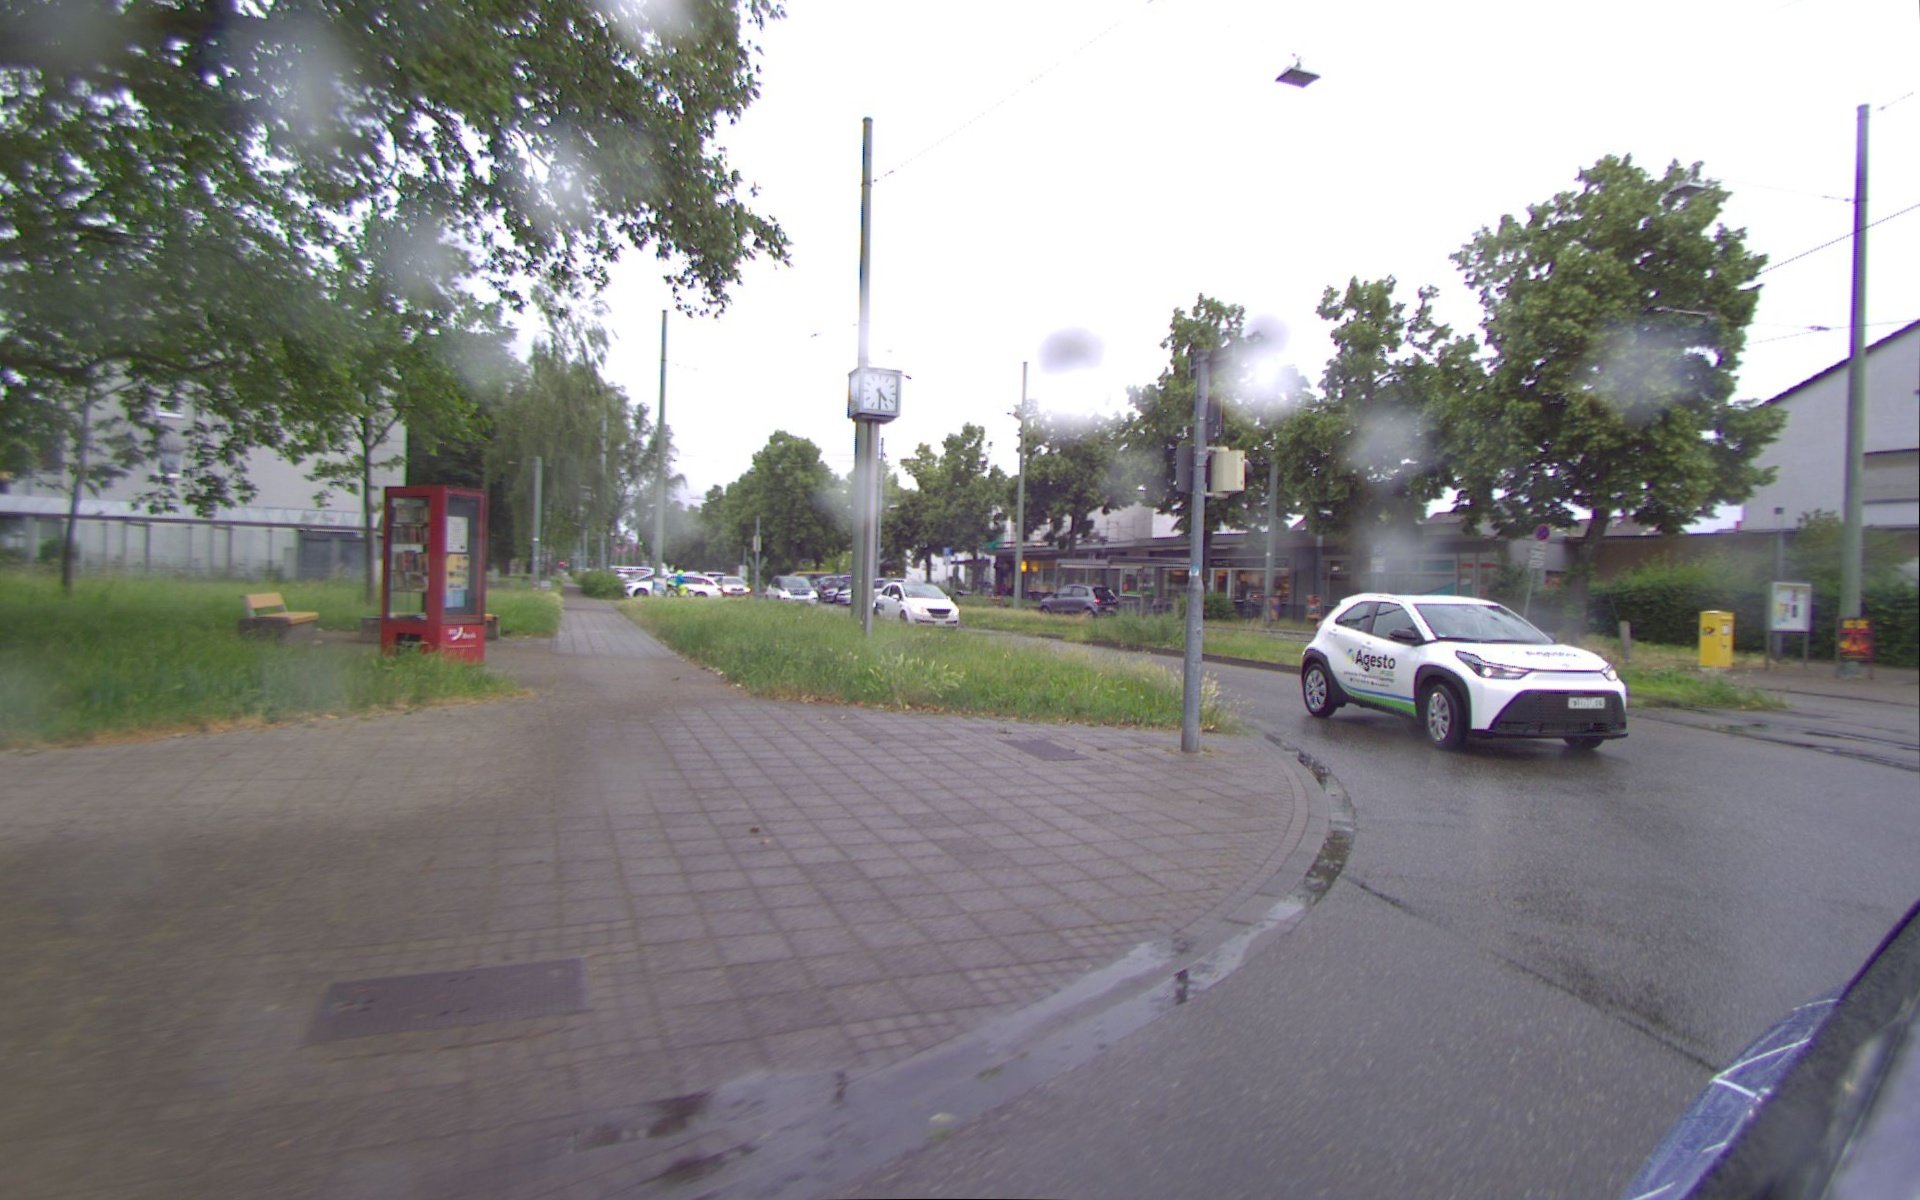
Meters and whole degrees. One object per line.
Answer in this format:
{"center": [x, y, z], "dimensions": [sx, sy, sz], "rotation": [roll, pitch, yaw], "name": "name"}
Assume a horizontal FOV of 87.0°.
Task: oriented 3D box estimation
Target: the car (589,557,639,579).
{"center": [-33.522, -3.081, 98.038], "dimensions": [4.354, 2.087, 1.726], "rotation": [-1, 2, -25], "name": "car"}

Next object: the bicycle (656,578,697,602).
{"center": [-13.581, -0.478, 48.530], "dimensions": [1.723, 1.144, 0.727], "rotation": [1, 0, -41], "name": "bicycle"}

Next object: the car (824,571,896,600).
{"center": [-5.941, -0.876, 59.944], "dimensions": [3.865, 1.695, 1.797], "rotation": [0, 1, -23], "name": "car"}

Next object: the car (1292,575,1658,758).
{"center": [5.328, 0.616, 11.082], "dimensions": [1.685, 1.644, 3.720], "rotation": [1, -1, -9], "name": "car"}

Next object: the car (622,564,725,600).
{"center": [-14.435, -0.906, 50.922], "dimensions": [4.740, 1.476, 2.004], "rotation": [3, 0, -21], "name": "car"}

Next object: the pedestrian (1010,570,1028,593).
{"center": [4.249, -1.310, 72.799], "dimensions": [1.058, 1.603, 0.950], "rotation": [2, 1, -11], "name": "pedestrian"}

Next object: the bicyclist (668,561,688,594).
{"center": [-13.536, -1.085, 48.573], "dimensions": [0.686, 1.536, 0.724], "rotation": [1, 0, -40], "name": "bicyclist"}

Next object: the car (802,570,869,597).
{"center": [-8.210, -1.108, 66.855], "dimensions": [4.006, 1.730, 1.903], "rotation": [0, 1, -23], "name": "car"}

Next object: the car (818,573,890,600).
{"center": [-6.532, -0.852, 62.157], "dimensions": [4.006, 1.591, 2.004], "rotation": [0, 1, -23], "name": "car"}

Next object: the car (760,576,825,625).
{"center": [-7.536, -0.033, 45.237], "dimensions": [1.958, 2.038, 4.009], "rotation": [-1, 2, -23], "name": "car"}

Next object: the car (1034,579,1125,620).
{"center": [4.810, -0.048, 41.058], "dimensions": [1.524, 1.522, 3.620], "rotation": [-1, 2, -39], "name": "car"}

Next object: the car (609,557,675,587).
{"center": [-23.070, -2.033, 73.410], "dimensions": [4.354, 2.087, 1.726], "rotation": [-1, 2, -25], "name": "car"}

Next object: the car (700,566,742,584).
{"center": [-27.458, -2.851, 116.177], "dimensions": [4.454, 1.967, 1.903], "rotation": [0, 1, -23], "name": "car"}

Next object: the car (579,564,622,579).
{"center": [-40.432, -3.197, 113.808], "dimensions": [4.454, 1.603, 1.903], "rotation": [0, 1, -23], "name": "car"}

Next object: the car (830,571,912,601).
{"center": [-5.105, -0.800, 57.840], "dimensions": [4.247, 1.695, 2.004], "rotation": [0, 1, -23], "name": "car"}

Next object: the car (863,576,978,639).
{"center": [-1.263, 0.176, 30.489], "dimensions": [1.923, 1.571, 4.008], "rotation": [0, 3, -27], "name": "car"}

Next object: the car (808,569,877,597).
{"center": [-7.484, -1.108, 64.295], "dimensions": [4.006, 1.730, 1.903], "rotation": [0, 1, -23], "name": "car"}

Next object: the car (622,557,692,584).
{"center": [-18.262, -1.807, 61.035], "dimensions": [3.916, 1.605, 1.727], "rotation": [-1, 2, -21], "name": "car"}

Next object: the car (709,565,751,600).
{"center": [-14.268, -1.111, 62.702], "dimensions": [1.958, 2.038, 4.009], "rotation": [-1, 2, -21], "name": "car"}

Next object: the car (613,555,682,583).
{"center": [-21.099, -2.087, 68.402], "dimensions": [4.352, 1.869, 1.727], "rotation": [-1, 2, -21], "name": "car"}

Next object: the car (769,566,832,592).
{"center": [-12.368, -1.626, 78.347], "dimensions": [4.454, 1.967, 1.903], "rotation": [0, 1, -23], "name": "car"}

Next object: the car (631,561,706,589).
{"center": [-16.287, -1.401, 56.493], "dimensions": [3.916, 1.504, 1.727], "rotation": [-1, 2, -21], "name": "car"}

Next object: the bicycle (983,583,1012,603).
{"center": [2.117, -0.400, 57.543], "dimensions": [0.583, 1.086, 1.749], "rotation": [2, 1, -39], "name": "bicycle"}

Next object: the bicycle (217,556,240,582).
{"center": [-28.321, -1.201, 39.185], "dimensions": [0.369, 0.968, 1.241], "rotation": [0, 2, -19], "name": "bicycle"}

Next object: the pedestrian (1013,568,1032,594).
{"center": [4.433, -1.355, 71.561], "dimensions": [1.058, 1.735, 0.950], "rotation": [2, 1, -11], "name": "pedestrian"}
